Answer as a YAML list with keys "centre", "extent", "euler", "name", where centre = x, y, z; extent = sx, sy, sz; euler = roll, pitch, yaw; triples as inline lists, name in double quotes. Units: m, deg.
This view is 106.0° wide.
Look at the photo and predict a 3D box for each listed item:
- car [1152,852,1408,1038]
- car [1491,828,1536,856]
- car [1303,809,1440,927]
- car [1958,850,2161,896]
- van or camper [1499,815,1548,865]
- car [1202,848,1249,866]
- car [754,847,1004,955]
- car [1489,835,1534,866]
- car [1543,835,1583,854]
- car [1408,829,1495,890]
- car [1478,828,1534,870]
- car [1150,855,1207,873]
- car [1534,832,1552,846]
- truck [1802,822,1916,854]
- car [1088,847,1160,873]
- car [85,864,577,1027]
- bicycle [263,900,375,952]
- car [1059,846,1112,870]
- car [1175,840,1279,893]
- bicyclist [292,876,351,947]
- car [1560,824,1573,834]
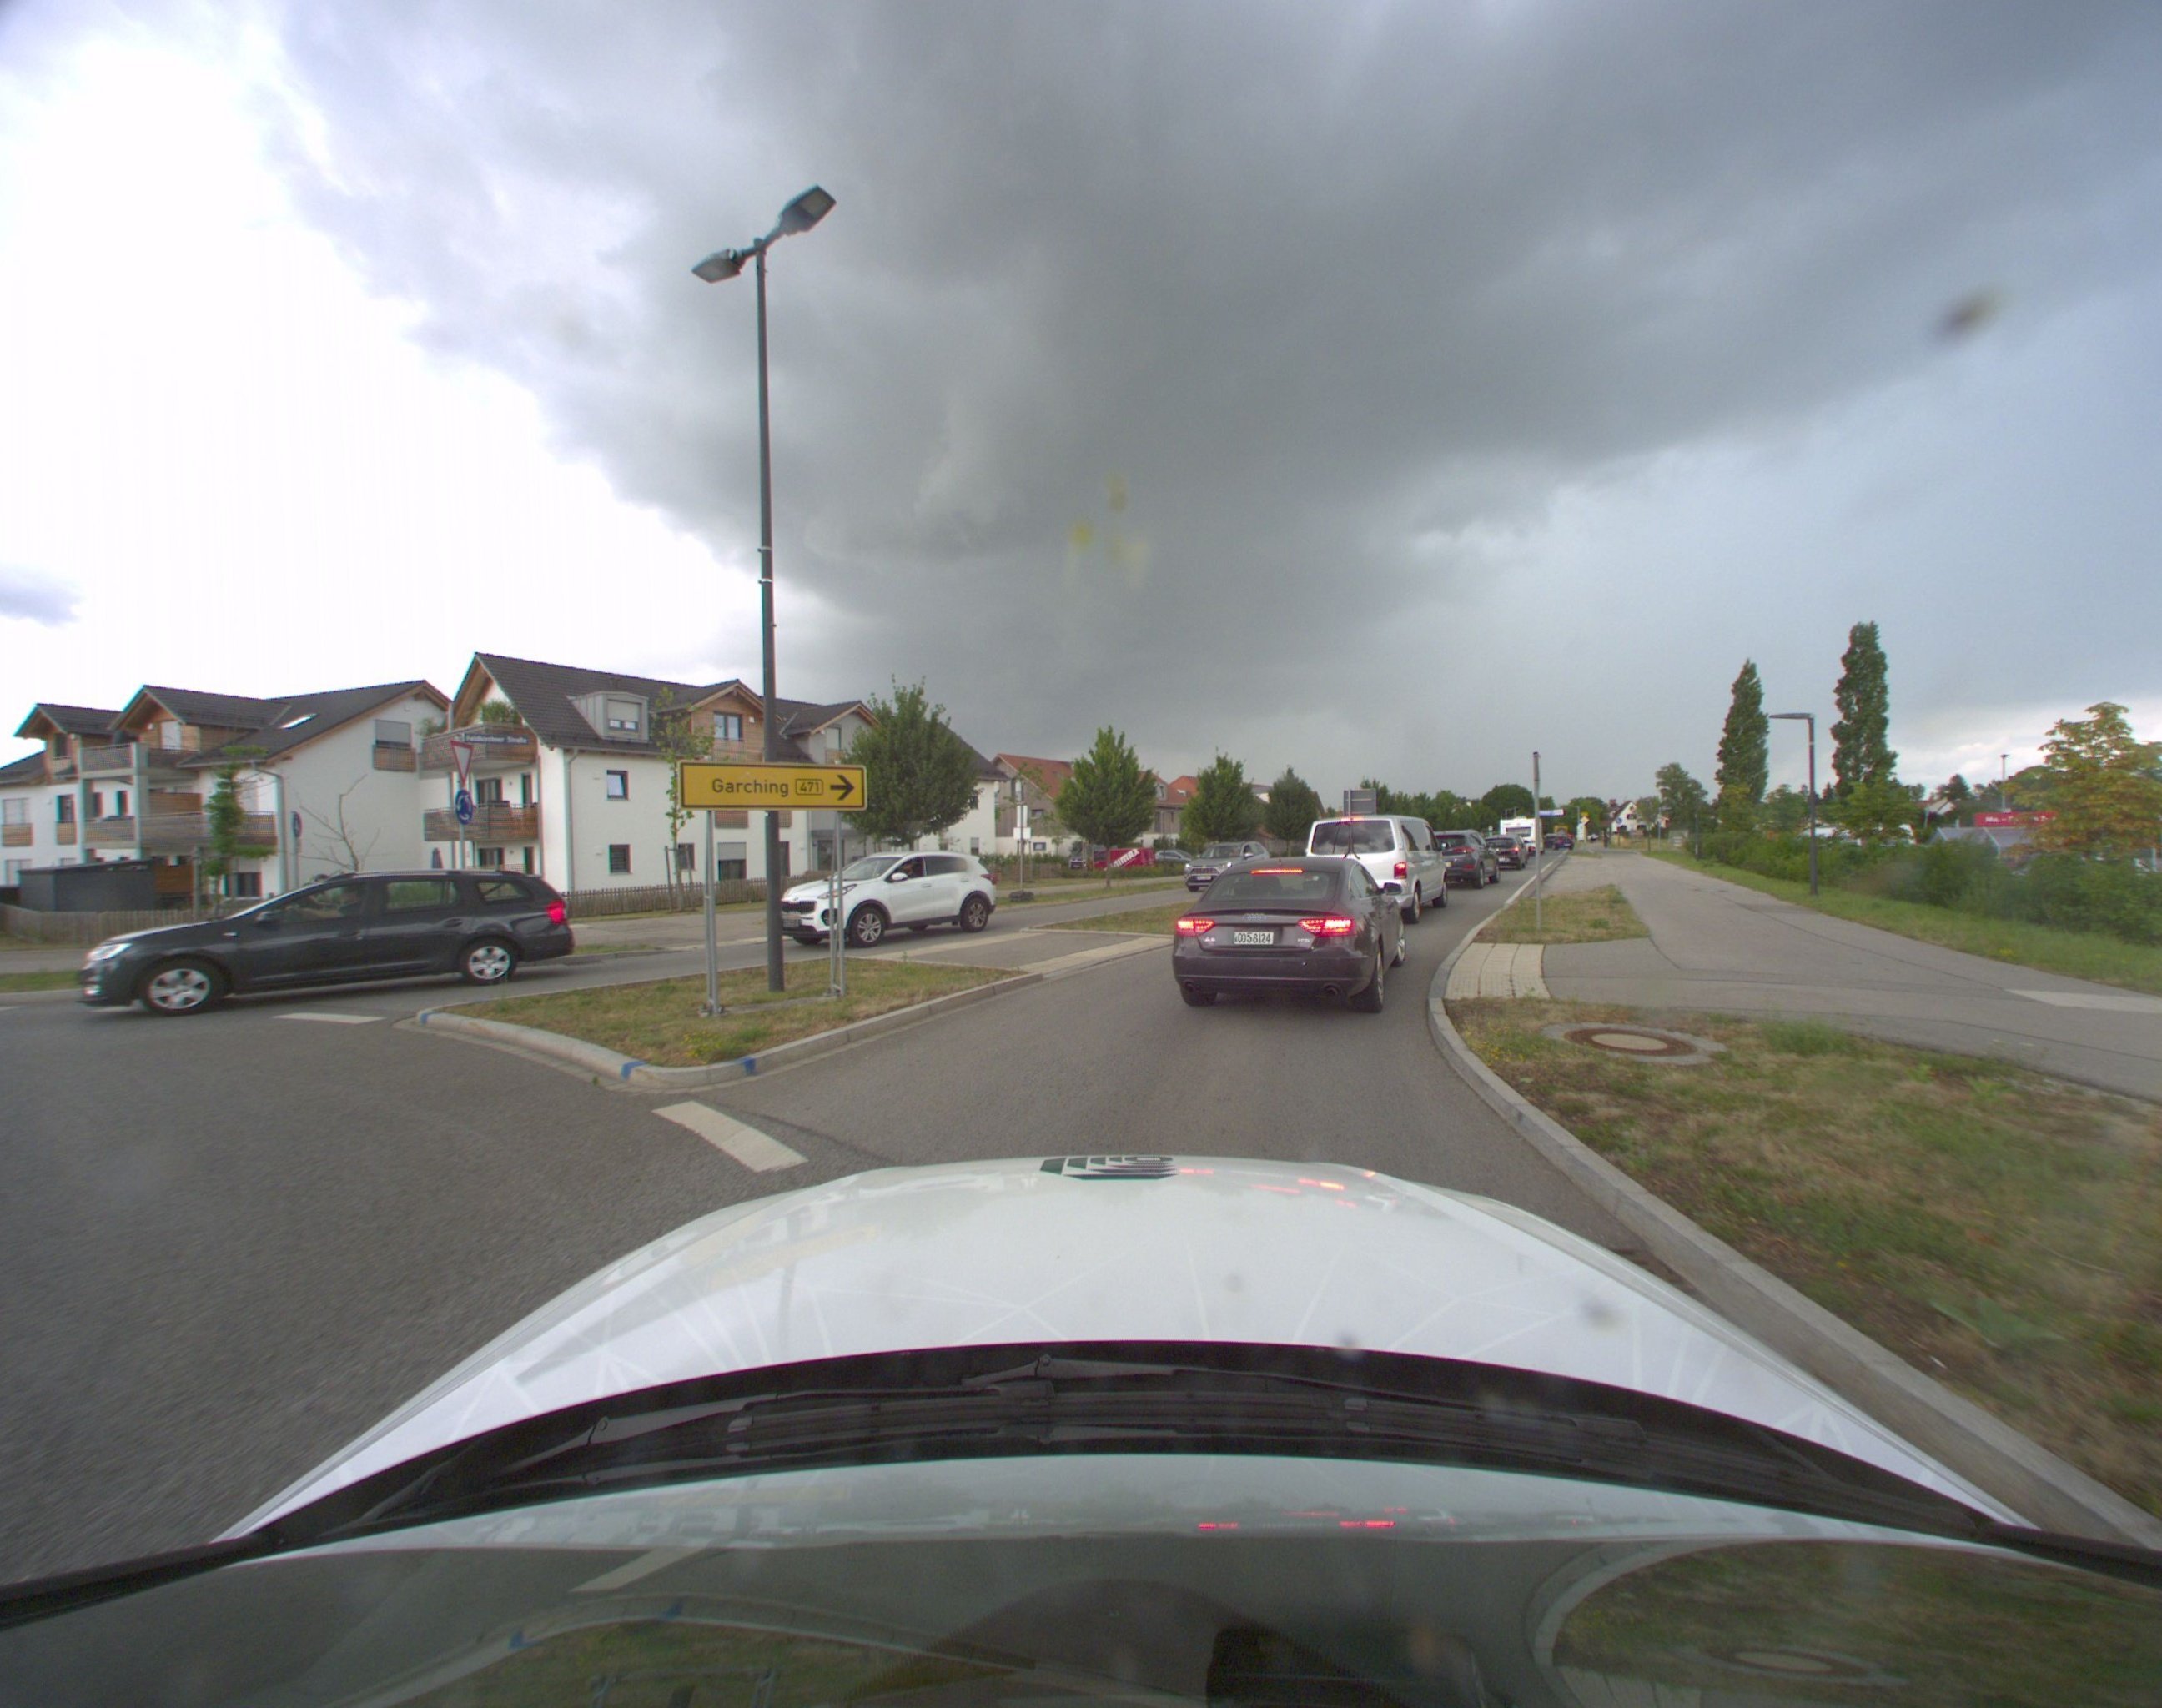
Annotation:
- centre: [2.326, 0.707, 8.540]
  extent: [1.767, 1.391, 4.157]
  euler: [-1, 0, 26]
  name: "car"
- centre: [26.232, -0.734, 49.328]
  extent: [1.974, 1.596, 4.026]
  euler: [-1, 0, 33]
  name: "car"
- centre: [5.666, 0.210, 15.573]
  extent: [1.849, 1.934, 4.025]
  euler: [-1, 0, 28]
  name: "car"
- centre: [33.275, 0.625, 27.785]
  extent: [4.192, 1.440, 2.013]
  euler: [-1, 1, 32]
  name: "car"
- centre: [31.032, -0.950, 56.962]
  extent: [2.599, 3.323, 6.864]
  euler: [-1, 0, 31]
  name: "van or camper"
- centre: [12.520, 0.250, 70.639]
  extent: [3.694, 1.482, 1.697]
  euler: [-1, 1, 29]
  name: "car"
- centre: [-3.612, 0.767, 15.399]
  extent: [1.692, 1.626, 4.480]
  euler: [-2, 0, 36]
  name: "car"
- centre: [21.536, -0.214, 40.710]
  extent: [1.759, 1.434, 3.826]
  euler: [-2, 0, 31]
  name: "car"
- centre: [46.740, -0.904, 79.075]
  extent: [1.608, 1.794, 4.000]
  euler: [-1, 0, 1]
  name: "car"
- centre: [10.852, 0.109, 23.714]
  extent: [1.759, 1.618, 4.026]
  euler: [0, 1, 32]
  name: "car"
- centre: [17.924, -0.223, 34.260]
  extent: [1.759, 1.618, 4.026]
  euler: [-2, 0, 32]
  name: "car"
- centre: [7.457, 0.790, 62.480]
  extent: [3.877, 1.315, 1.854]
  euler: [-1, 0, 30]
  name: "car"
- centre: [65.485, -2.085, 115.414]
  extent: [1.974, 1.899, 4.026]
  euler: [0, 1, 31]
  name: "car"
- centre: [47.936, -0.959, 50.311]
  extent: [4.751, 1.872, 2.012]
  euler: [0, 1, 28]
  name: "truck"
- centre: [2.869, 0.418, 55.137]
  extent: [4.486, 1.680, 2.013]
  euler: [-1, 0, 35]
  name: "car"
- centre: [-9.096, 0.970, 10.389]
  extent: [4.302, 1.564, 1.753]
  euler: [-1, -1, -41]
  name: "car"
- centre: [-16.471, 1.545, 17.649]
  extent: [1.723, 0.946, 0.491]
  euler: [-3, 0, -41]
  name: "bicycle"
- centre: [0.411, 0.301, 65.450]
  extent: [1.974, 1.772, 4.494]
  euler: [-1, 0, 37]
  name: "car"
- centre: [5.244, 0.372, 28.781]
  extent: [1.974, 1.704, 4.664]
  euler: [-1, 0, 32]
  name: "car"
- centre: [-16.466, 1.231, 17.681]
  extent: [0.874, 1.446, 0.716]
  euler: [-3, 0, -42]
  name: "bicyclist"
- centre: [108.454, -5.667, 181.931]
  extent: [1.974, 2.211, 4.026]
  euler: [-1, 1, 36]
  name: "car"
